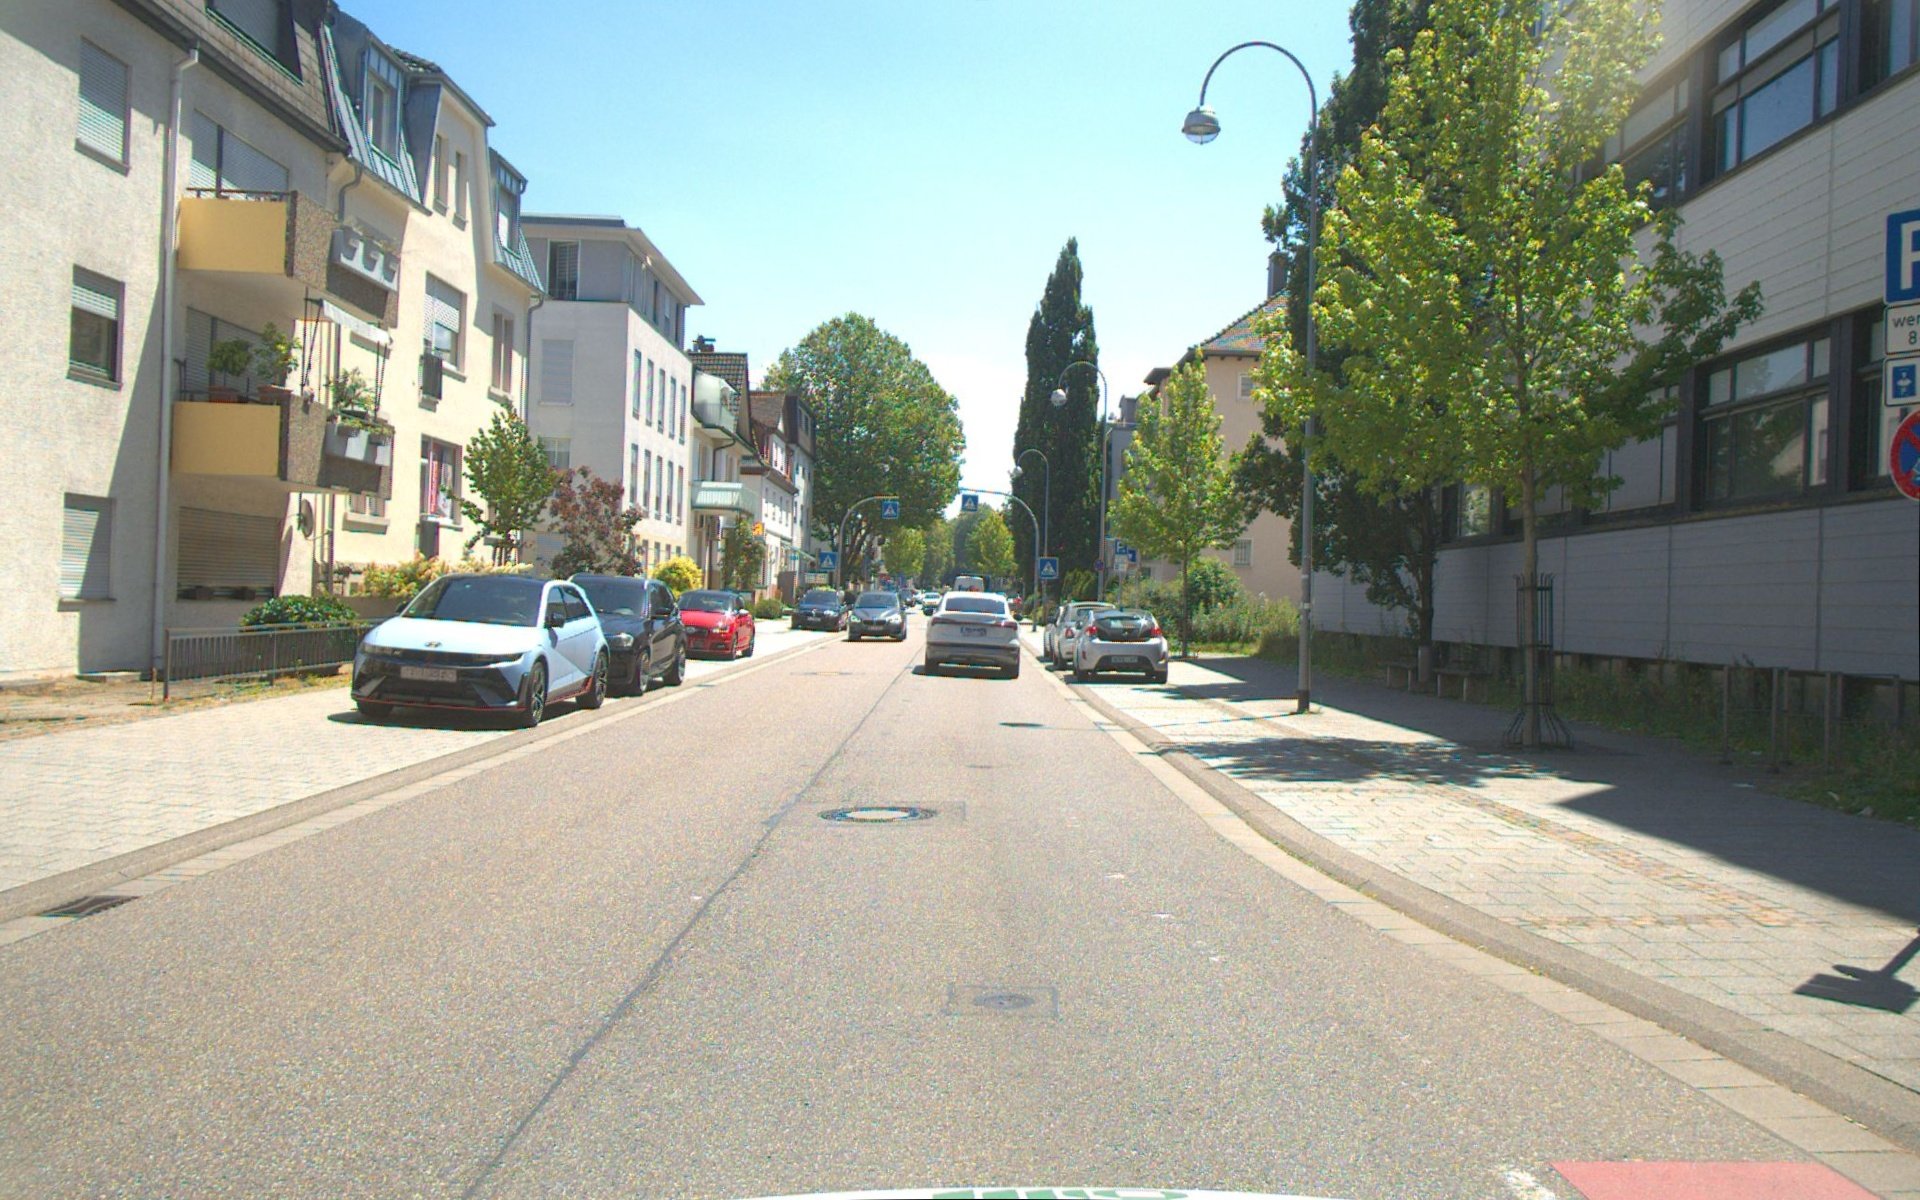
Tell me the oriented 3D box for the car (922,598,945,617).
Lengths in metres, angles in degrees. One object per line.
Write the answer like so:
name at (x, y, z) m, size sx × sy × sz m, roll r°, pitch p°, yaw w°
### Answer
car at (-2.314, 0.660, 145.244) m, size 1.938 × 1.546 × 3.999 m, roll 1°, pitch 0°, yaw -1°

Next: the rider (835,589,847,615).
rider at (-7.227, 0.106, 100.603) m, size 0.648 × 1.580 × 0.661 m, roll 1°, pitch 0°, yaw 0°

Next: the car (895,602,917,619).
car at (-5.057, 0.995, 155.952) m, size 1.953 × 1.546 × 3.999 m, roll 1°, pitch 0°, yaw -1°

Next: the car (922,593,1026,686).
car at (0.300, 0.771, 34.129) m, size 1.897 × 1.642 × 4.472 m, roll 4°, pitch 0°, yaw 1°

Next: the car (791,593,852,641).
car at (-5.295, 0.654, 63.679) m, size 1.886 × 1.750 × 4.472 m, roll 1°, pitch 0°, yaw 1°

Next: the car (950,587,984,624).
car at (0.417, 0.332, 103.266) m, size 2.028 × 2.235 × 5.136 m, roll 0°, pitch 0°, yaw -1°

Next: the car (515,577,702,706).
car at (-5.207, 0.578, 25.109) m, size 1.690 × 1.647 × 4.571 m, roll 5°, pitch 0°, yaw 1°

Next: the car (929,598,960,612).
car at (-2.021, 0.655, 221.916) m, size 3.902 × 1.680 × 2.001 m, roll 1°, pitch 0°, yaw 7°

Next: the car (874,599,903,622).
car at (-5.207, 0.761, 121.381) m, size 1.953 × 1.546 × 3.999 m, roll 1°, pitch 0°, yaw -1°

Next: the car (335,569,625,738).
car at (-5.410, 0.561, 19.344) m, size 1.886 × 1.600 × 4.659 m, roll 4°, pitch 0°, yaw 1°

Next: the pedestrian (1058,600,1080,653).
pedestrian at (3.774, 0.912, 57.289) m, size 0.625 × 1.789 × 0.616 m, roll 1°, pitch 0°, yaw -4°

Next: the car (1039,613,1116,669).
car at (3.072, 1.055, 43.942) m, size 1.690 × 1.407 × 4.401 m, roll 0°, pitch 0°, yaw -1°

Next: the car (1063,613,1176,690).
car at (3.149, 0.995, 33.372) m, size 1.824 × 1.397 × 3.999 m, roll 1°, pitch 0°, yaw -1°

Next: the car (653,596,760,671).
car at (-5.520, 0.699, 36.471) m, size 1.616 × 1.443 × 3.905 m, roll 4°, pitch 0°, yaw 1°

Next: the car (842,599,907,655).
car at (-2.754, 0.853, 54.225) m, size 1.934 × 1.700 × 4.470 m, roll 1°, pitch 0°, yaw -1°

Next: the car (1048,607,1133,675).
car at (3.043, 0.927, 39.190) m, size 1.625 × 1.514 × 4.345 m, roll 0°, pitch 0°, yaw -1°

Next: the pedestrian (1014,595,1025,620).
pedestrian at (4.285, 0.569, 118.463) m, size 0.680 × 1.767 × 0.667 m, roll 1°, pitch -1°, yaw -4°
